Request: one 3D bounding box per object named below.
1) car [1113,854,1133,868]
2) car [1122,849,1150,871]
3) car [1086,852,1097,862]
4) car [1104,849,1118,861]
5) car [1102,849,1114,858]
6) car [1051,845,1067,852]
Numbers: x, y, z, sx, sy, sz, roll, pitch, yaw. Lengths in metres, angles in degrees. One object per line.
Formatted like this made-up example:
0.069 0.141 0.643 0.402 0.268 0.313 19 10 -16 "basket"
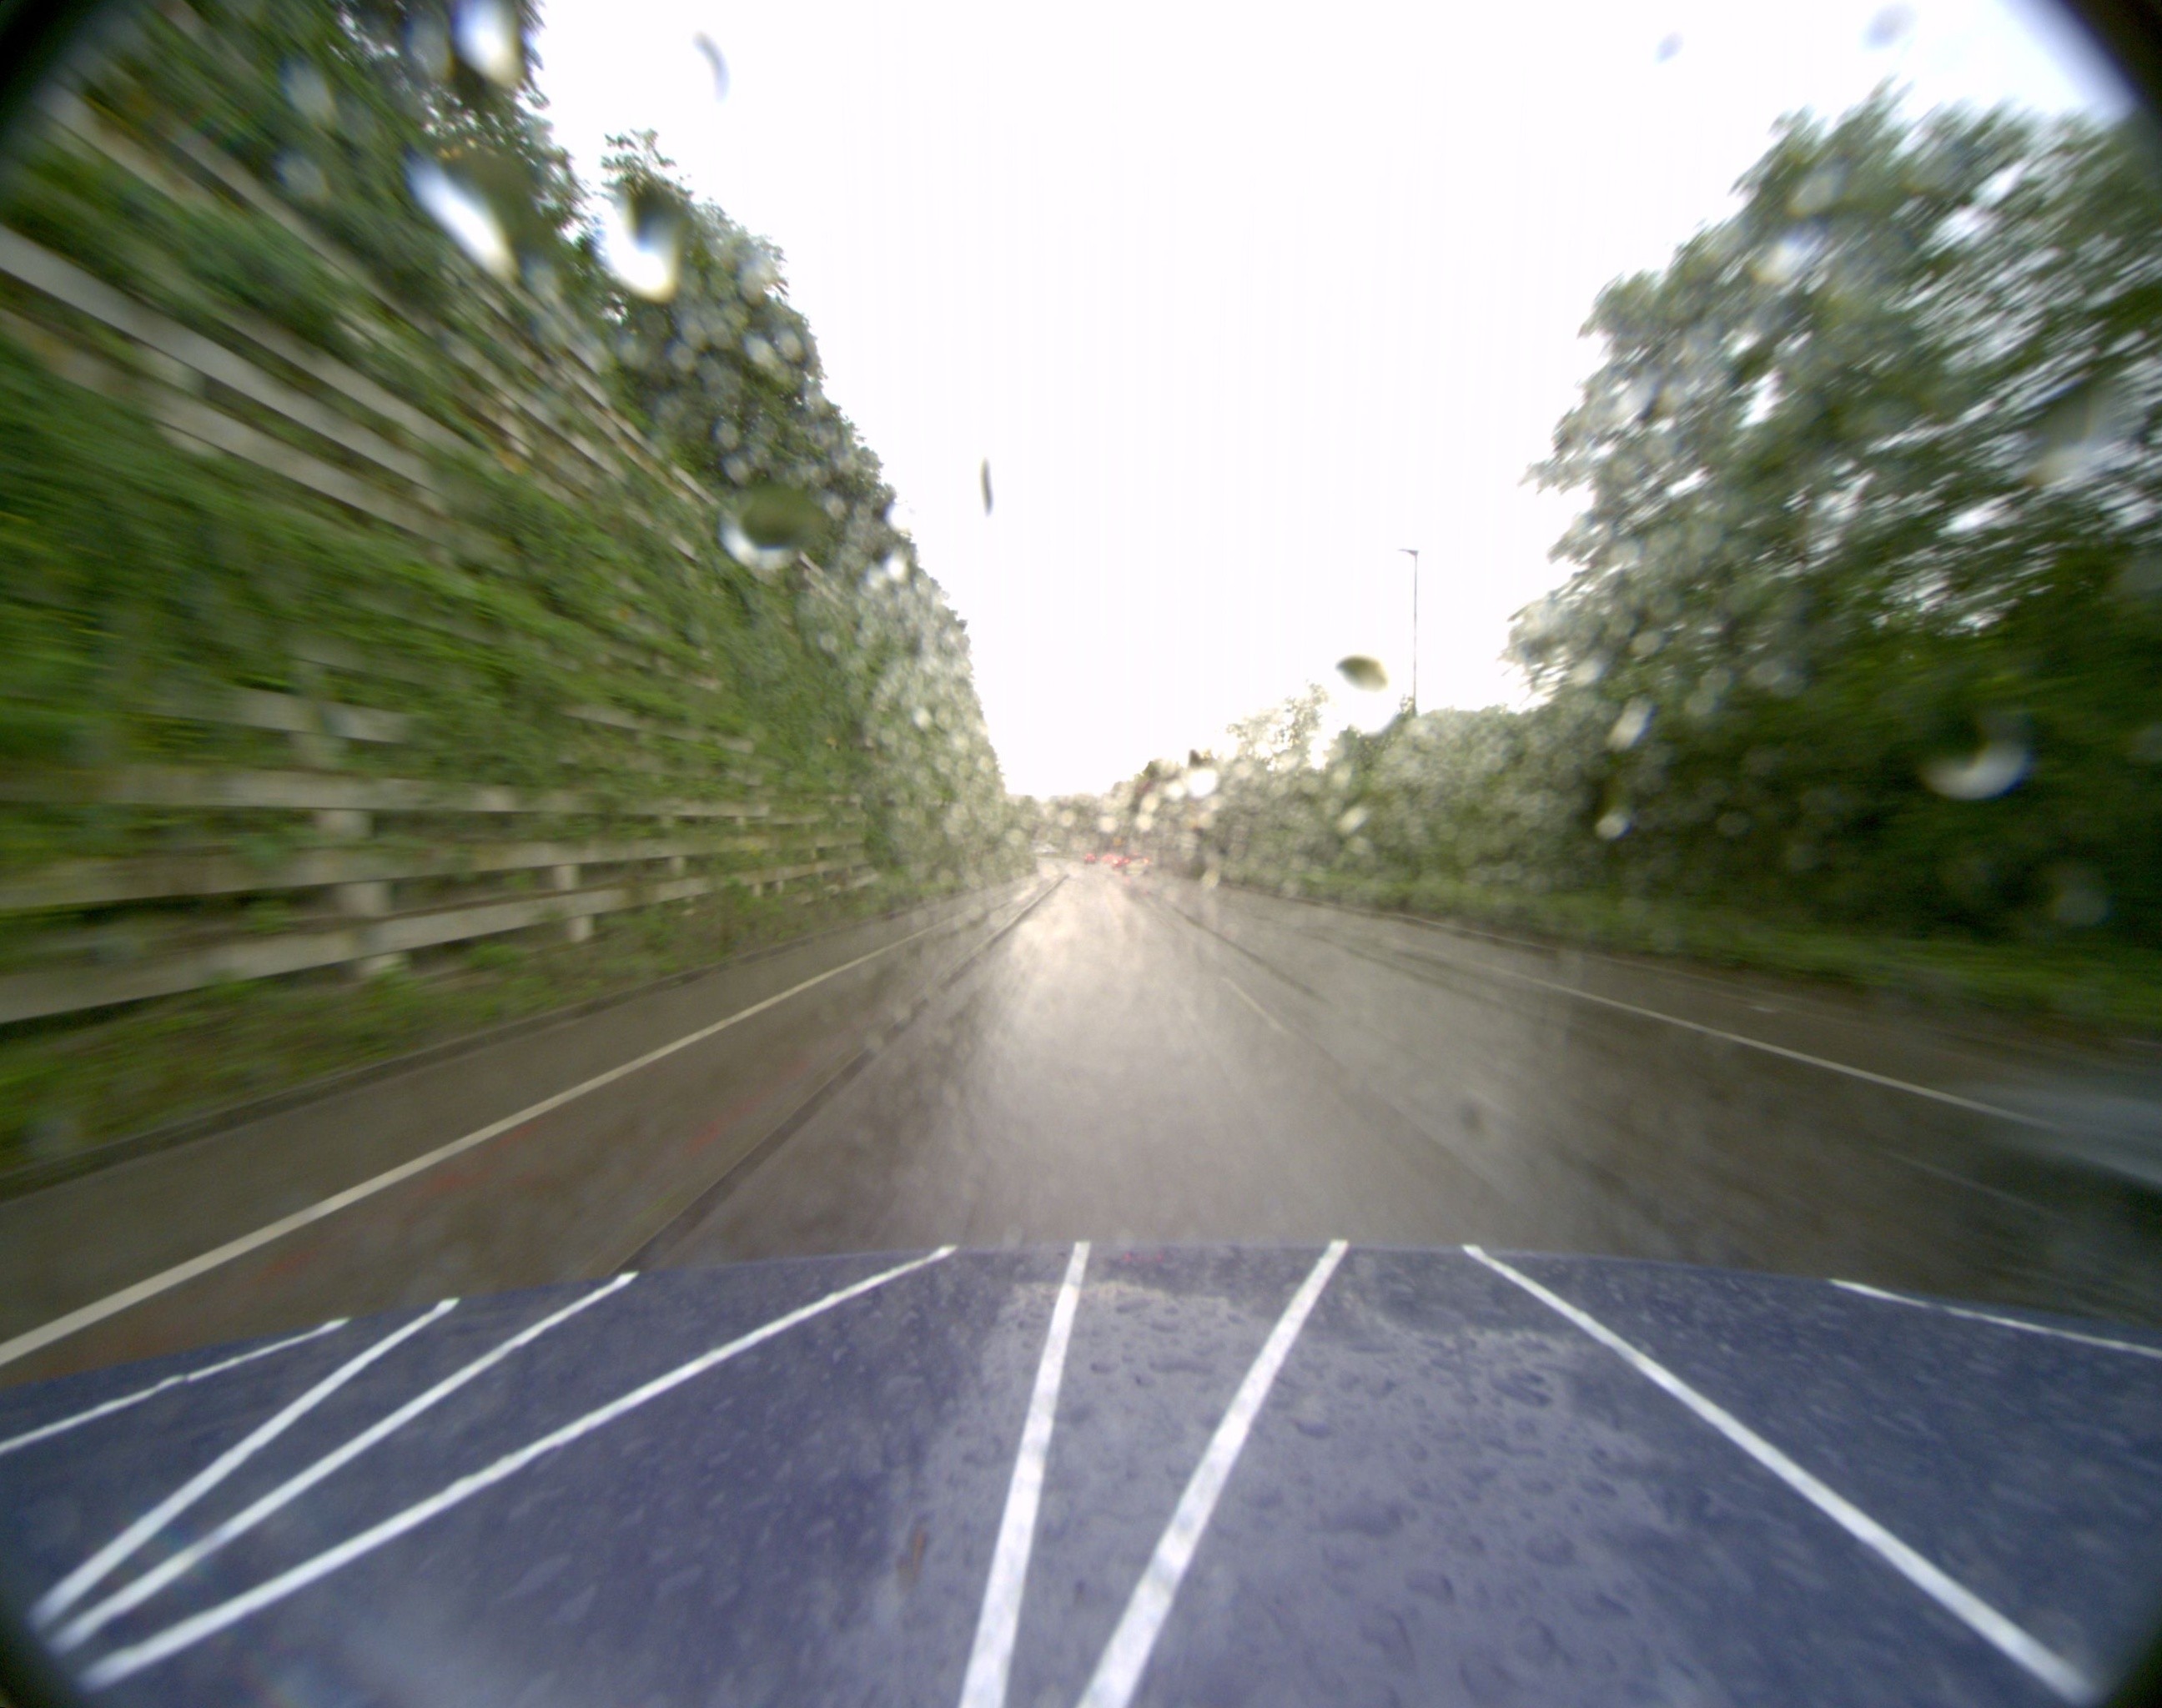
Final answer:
4.401 0.683 80.109 1.870 1.440 4.377 0 0 -1 "car"
4.246 0.465 59.335 1.827 1.605 4.093 -1 0 0 "car"
1.793 0.457 131.162 1.736 1.609 4.000 0 1 4 "car"
5.260 0.154 132.521 1.818 1.648 4.051 4 3 8 "car"
4.938 -0.133 139.939 1.998 1.494 4.728 3 1 1 "car"
-5.489 -1.343 190.569 3.823 1.559 1.773 3 2 -4 "car"
